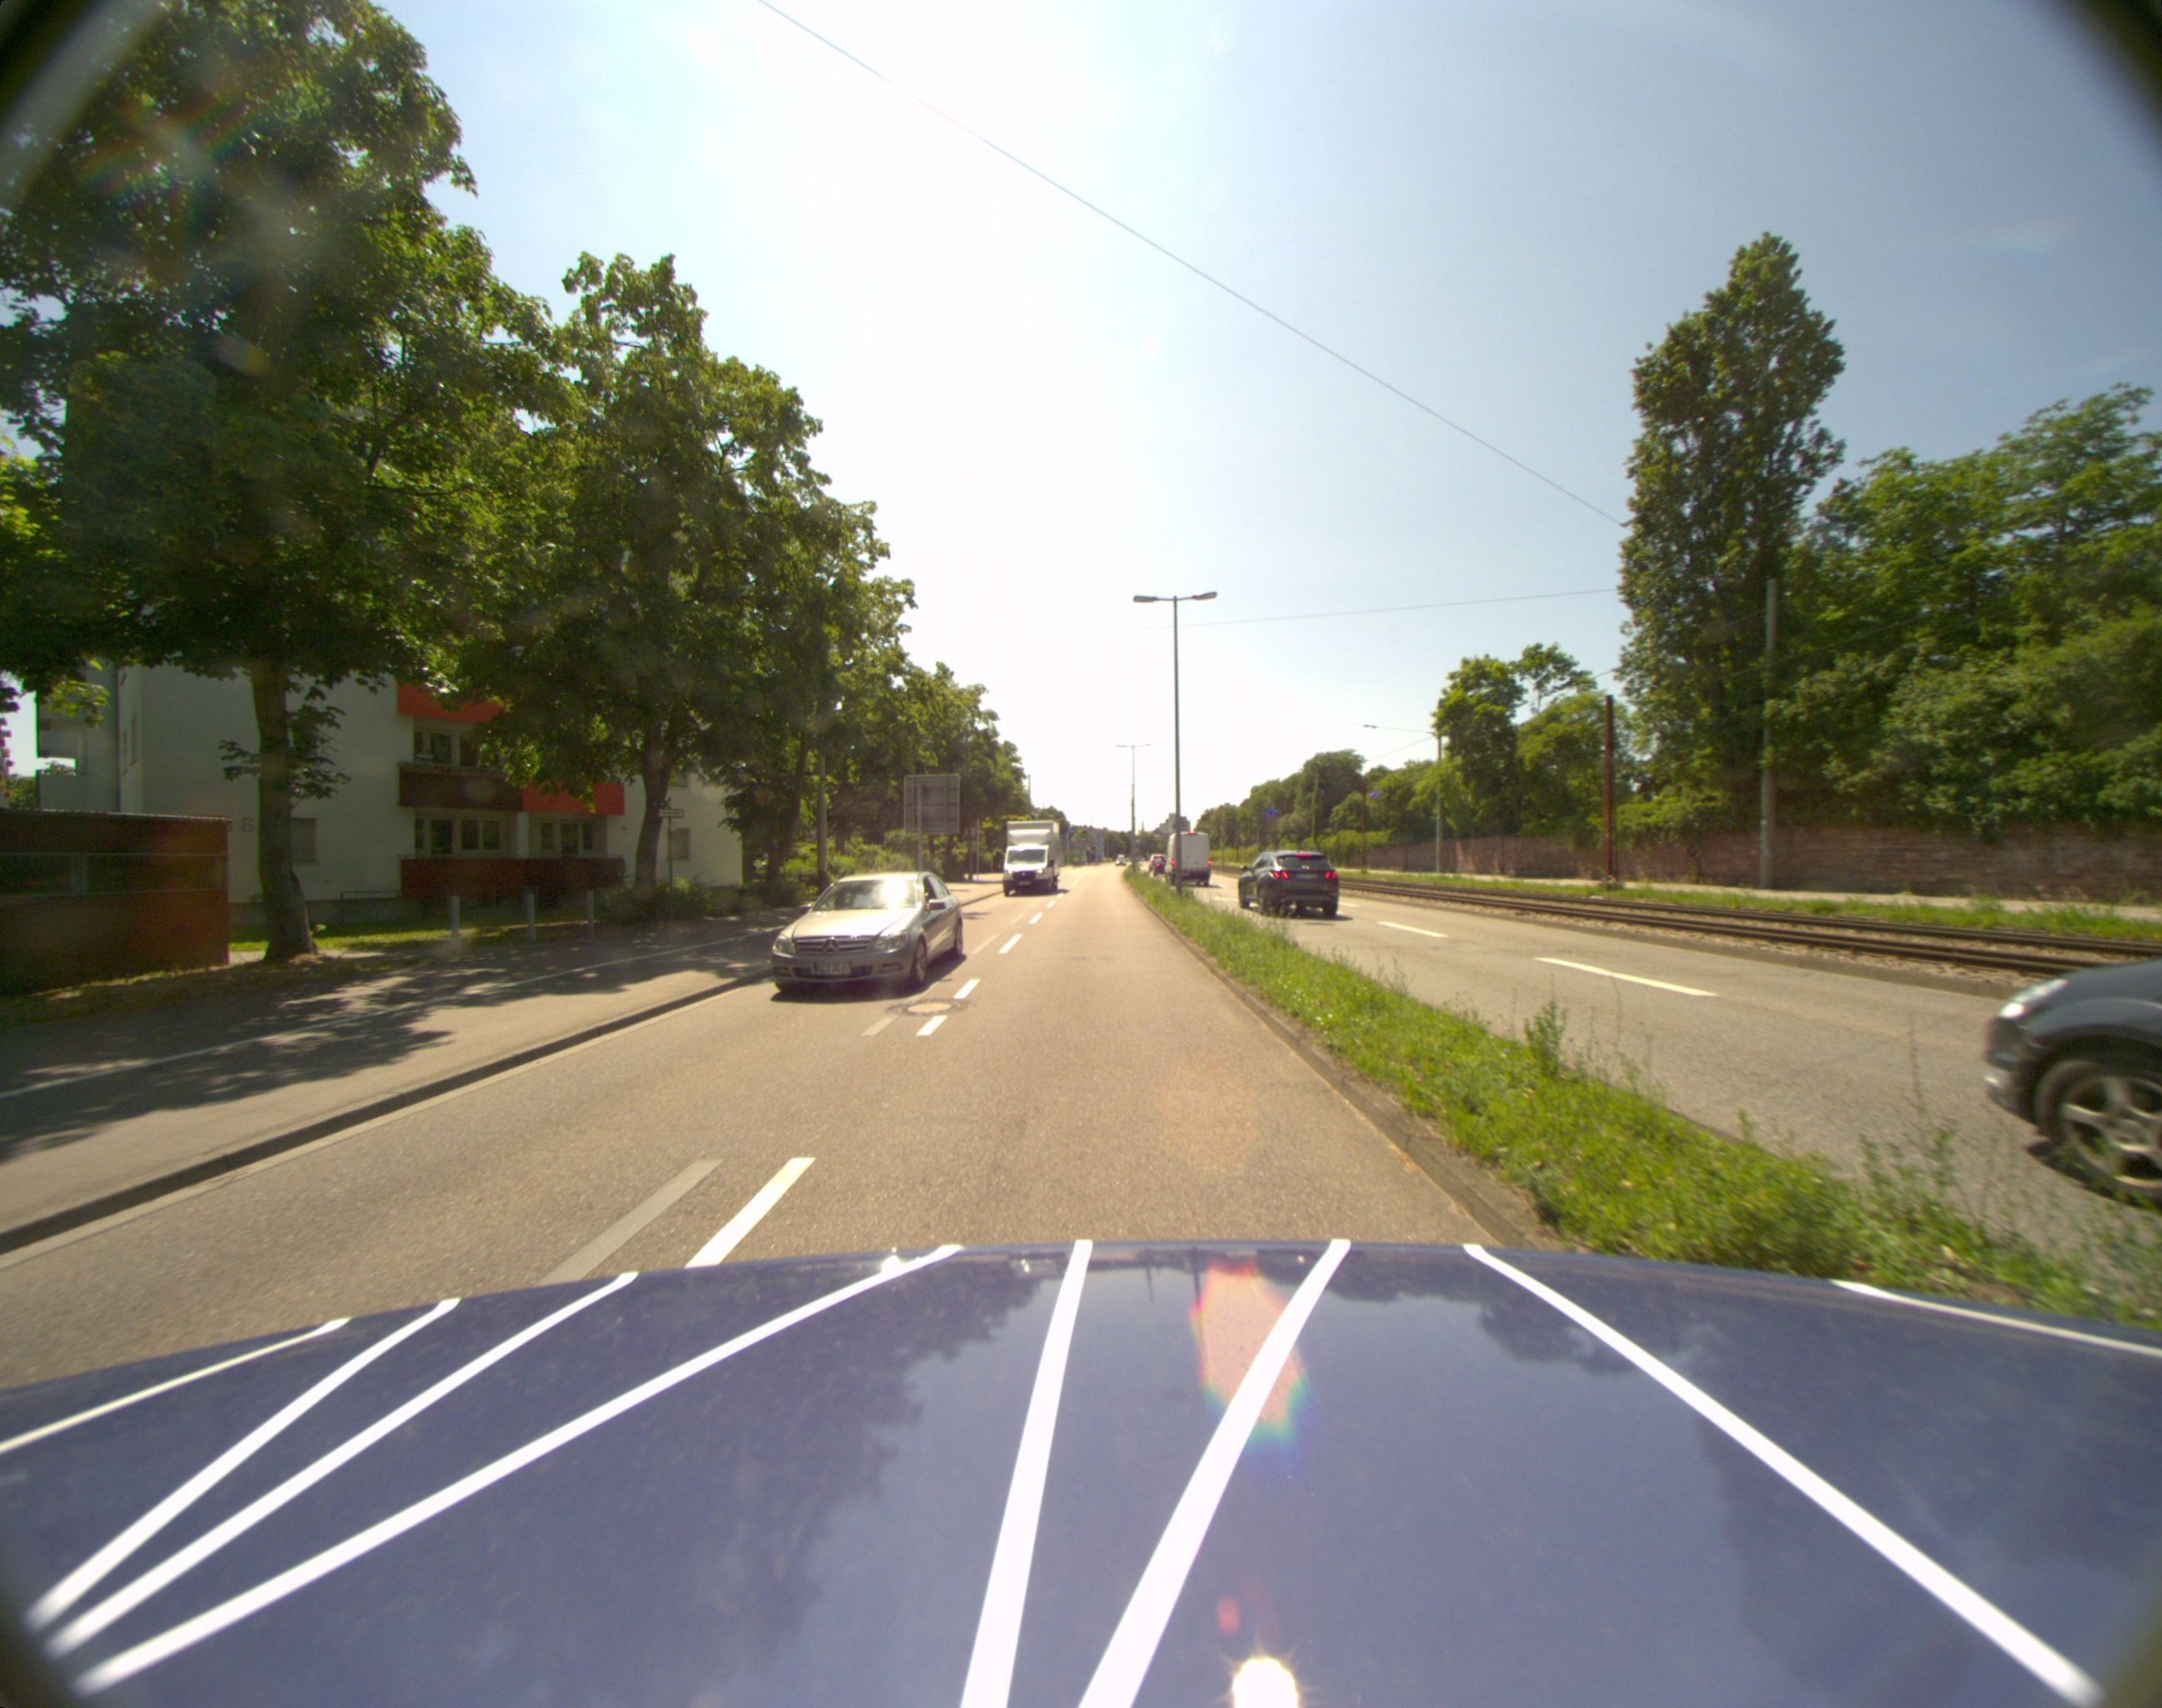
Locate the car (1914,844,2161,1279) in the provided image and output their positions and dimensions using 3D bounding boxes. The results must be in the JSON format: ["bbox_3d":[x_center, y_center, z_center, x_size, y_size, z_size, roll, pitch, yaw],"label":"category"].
[{"bbox_3d":[5.135,0.817,1.466,1.833,1.703,4.794,1,0,1],"label":"car"}]

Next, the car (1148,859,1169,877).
[{"bbox_3d":[8.005,1.425,78.752,1.904,1.738,4.588,0,0,2],"label":"car"}]

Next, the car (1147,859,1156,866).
[{"bbox_3d":[13.853,1.619,148.947,1.698,1.462,3.791,0,0,3],"label":"car"}]

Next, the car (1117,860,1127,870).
[{"bbox_3d":[7.296,1.965,135.126,1.829,1.556,4.001,-1,0,4],"label":"car"}]

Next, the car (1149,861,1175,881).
[{"bbox_3d":[6.283,1.306,59.462,1.720,1.450,3.914,0,0,1],"label":"car"}]

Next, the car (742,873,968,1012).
[{"bbox_3d":[-2.876,1.059,10.659,1.903,1.451,3.971,-2,0,0],"label":"car"}]

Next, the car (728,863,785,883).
[{"bbox_3d":[-26.823,1.596,62.855,3.995,1.531,1.726,-1,0,7],"label":"car"}]

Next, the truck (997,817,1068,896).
[{"bbox_3d":[-2.096,0.101,36.161,2.294,3.259,8.313,-1,0,3],"label":"truck"}]

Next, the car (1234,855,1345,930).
[{"bbox_3d":[5.377,0.915,20.218,1.833,1.746,4.489,1,0,2],"label":"car"}]

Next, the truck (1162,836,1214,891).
[{"bbox_3d":[5.655,0.485,40.895,2.086,2.732,5.547,0,0,1],"label":"truck"}]
